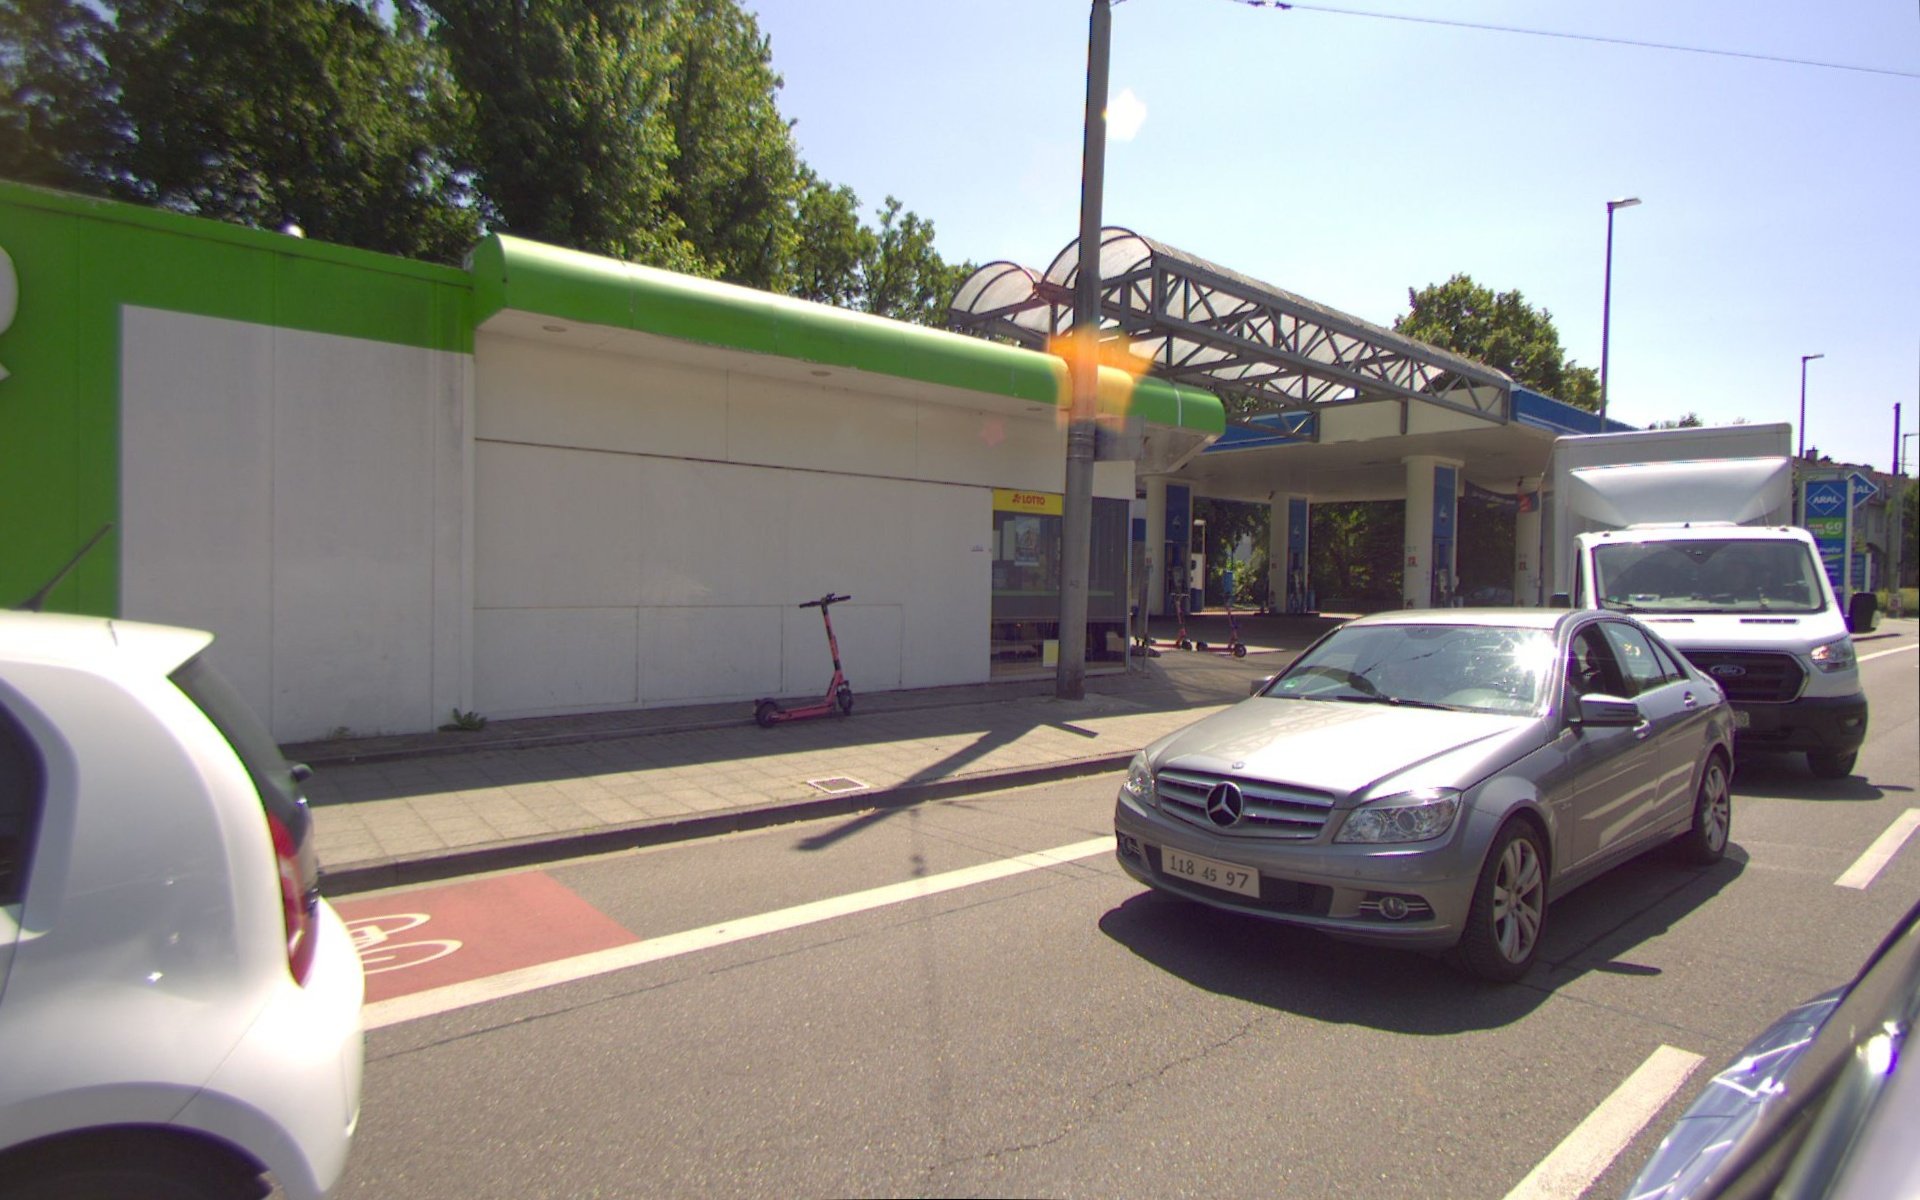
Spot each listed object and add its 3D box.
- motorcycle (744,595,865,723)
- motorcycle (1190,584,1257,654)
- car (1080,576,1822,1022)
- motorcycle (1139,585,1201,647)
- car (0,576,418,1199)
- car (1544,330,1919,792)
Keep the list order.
[{"bbox_3d":[-1.449,0.528,9.491,1.098,1.118,0.253,-1,7,-40],"label":"motorcycle"},{"bbox_3d":[4.976,0.344,19.148,0.357,1.225,1.156,2,2,-42],"label":"motorcycle"},{"bbox_3d":[3.119,0.673,5.704,5.205,1.492,1.716,0,-1,-39],"label":"car"},{"bbox_3d":[4.158,0.306,20.086,0.389,1.127,1.156,2,2,-42],"label":"motorcycle"},{"bbox_3d":[-2.814,0.692,1.414,3.375,1.466,1.612,0,0,-40],"label":"car"},{"bbox_3d":[8.151,-0.318,11.679,2.211,3.377,8.548,-1,0,29],"label":"car"}]
